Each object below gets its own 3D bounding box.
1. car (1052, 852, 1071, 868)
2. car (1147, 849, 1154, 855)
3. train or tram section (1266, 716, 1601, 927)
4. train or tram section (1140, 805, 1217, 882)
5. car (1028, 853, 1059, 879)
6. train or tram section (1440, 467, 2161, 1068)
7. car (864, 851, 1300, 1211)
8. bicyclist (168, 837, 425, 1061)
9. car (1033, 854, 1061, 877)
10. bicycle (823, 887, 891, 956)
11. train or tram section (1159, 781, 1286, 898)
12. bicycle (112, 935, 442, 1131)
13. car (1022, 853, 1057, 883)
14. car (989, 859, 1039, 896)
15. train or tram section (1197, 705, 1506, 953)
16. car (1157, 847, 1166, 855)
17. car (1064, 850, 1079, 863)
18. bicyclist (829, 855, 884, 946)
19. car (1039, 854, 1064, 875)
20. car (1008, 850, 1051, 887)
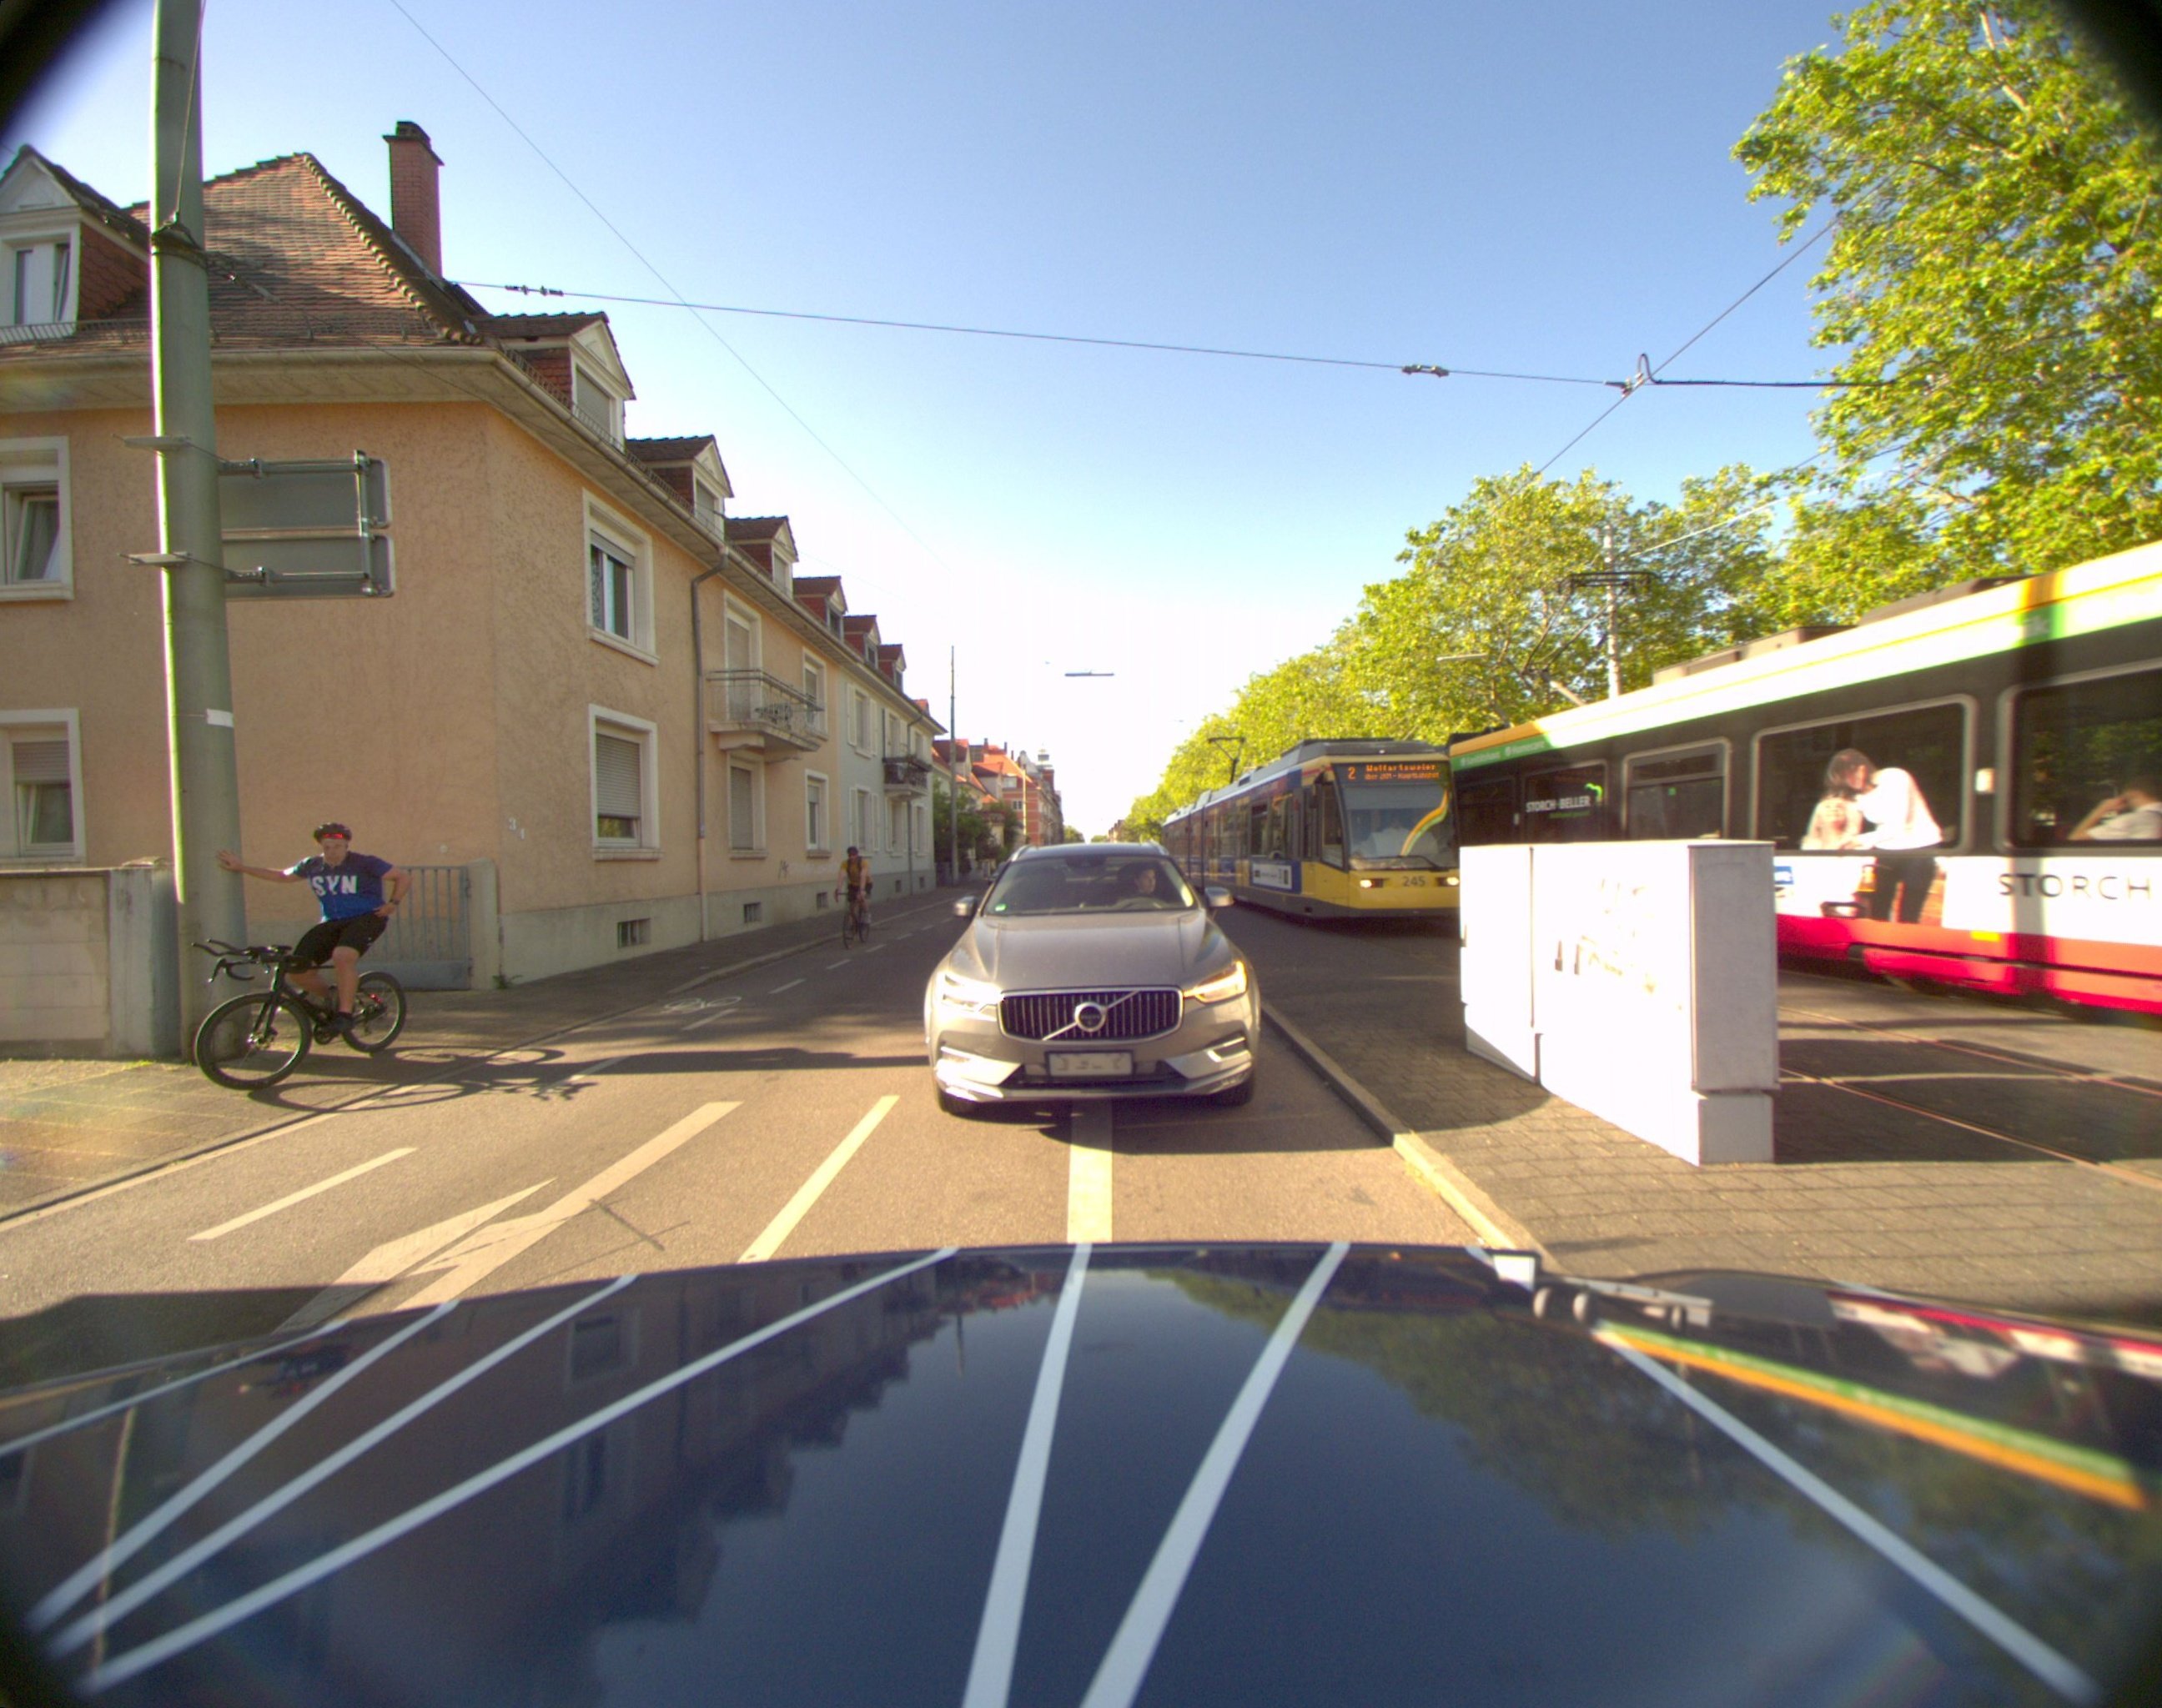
[{"bbox_3d":[-2.153,0.649,85.368,1.793,1.673,3.814,-3,0,2],"label":"car"},{"bbox_3d":[19.648,-0.604,214.808,1.695,1.775,3.749,-3,0,1],"label":"car"},{"bbox_3d":[8.021,-0.618,20.374,2.939,3.791,13.052,-1,0,0],"label":"train or tram section"},{"bbox_3d":[5.194,-0.516,42.910,2.717,3.643,12.653,-1,0,0],"label":"train or tram section"},{"bbox_3d":[-2.632,0.847,54.004,1.793,1.673,3.814,-3,0,2],"label":"car"},{"bbox_3d":[8.209,-0.578,7.399,2.940,3.791,12.817,-1,0,-2],"label":"train or tram section"},{"bbox_3d":[0.032,0.834,5.752,1.998,1.628,4.306,-2,0,1],"label":"car"},{"bbox_3d":[-6.193,0.706,6.069,1.051,1.599,0.885,4,0,1],"label":"bicyclist"},{"bbox_3d":[-2.720,0.898,61.029,1.793,1.673,3.814,-3,0,2],"label":"car"},{"bbox_3d":[-4.183,1.241,14.338,0.685,1.098,1.806,-2,1,1],"label":"bicycle"},{"bbox_3d":[5.120,-0.474,30.337,2.717,3.643,12.653,-1,0,0],"label":"train or tram section"},{"bbox_3d":[-5.999,1.263,5.849,0.592,1.062,1.775,4,0,1],"label":"bicycle"},{"bbox_3d":[-2.585,0.865,48.484,1.793,1.673,3.814,-3,0,2],"label":"car"},{"bbox_3d":[-3.222,1.095,37.045,1.695,1.571,3.815,-3,0,5],"label":"car"},{"bbox_3d":[5.020,-0.400,17.705,2.717,3.643,12.653,-1,0,0],"label":"train or tram section"},{"bbox_3d":[20.233,-0.711,191.414,1.695,1.775,3.749,-3,0,1],"label":"car"},{"bbox_3d":[-1.296,0.381,107.101,1.793,1.673,3.814,-3,0,2],"label":"car"},{"bbox_3d":[-4.196,0.851,14.258,0.685,1.611,0.855,-2,1,1],"label":"bicyclist"},{"bbox_3d":[-2.552,0.873,67.073,1.793,1.673,3.814,-3,0,2],"label":"car"},{"bbox_3d":[-2.824,0.753,42.819,1.793,1.828,5.149,-3,0,2],"label":"car"}]
